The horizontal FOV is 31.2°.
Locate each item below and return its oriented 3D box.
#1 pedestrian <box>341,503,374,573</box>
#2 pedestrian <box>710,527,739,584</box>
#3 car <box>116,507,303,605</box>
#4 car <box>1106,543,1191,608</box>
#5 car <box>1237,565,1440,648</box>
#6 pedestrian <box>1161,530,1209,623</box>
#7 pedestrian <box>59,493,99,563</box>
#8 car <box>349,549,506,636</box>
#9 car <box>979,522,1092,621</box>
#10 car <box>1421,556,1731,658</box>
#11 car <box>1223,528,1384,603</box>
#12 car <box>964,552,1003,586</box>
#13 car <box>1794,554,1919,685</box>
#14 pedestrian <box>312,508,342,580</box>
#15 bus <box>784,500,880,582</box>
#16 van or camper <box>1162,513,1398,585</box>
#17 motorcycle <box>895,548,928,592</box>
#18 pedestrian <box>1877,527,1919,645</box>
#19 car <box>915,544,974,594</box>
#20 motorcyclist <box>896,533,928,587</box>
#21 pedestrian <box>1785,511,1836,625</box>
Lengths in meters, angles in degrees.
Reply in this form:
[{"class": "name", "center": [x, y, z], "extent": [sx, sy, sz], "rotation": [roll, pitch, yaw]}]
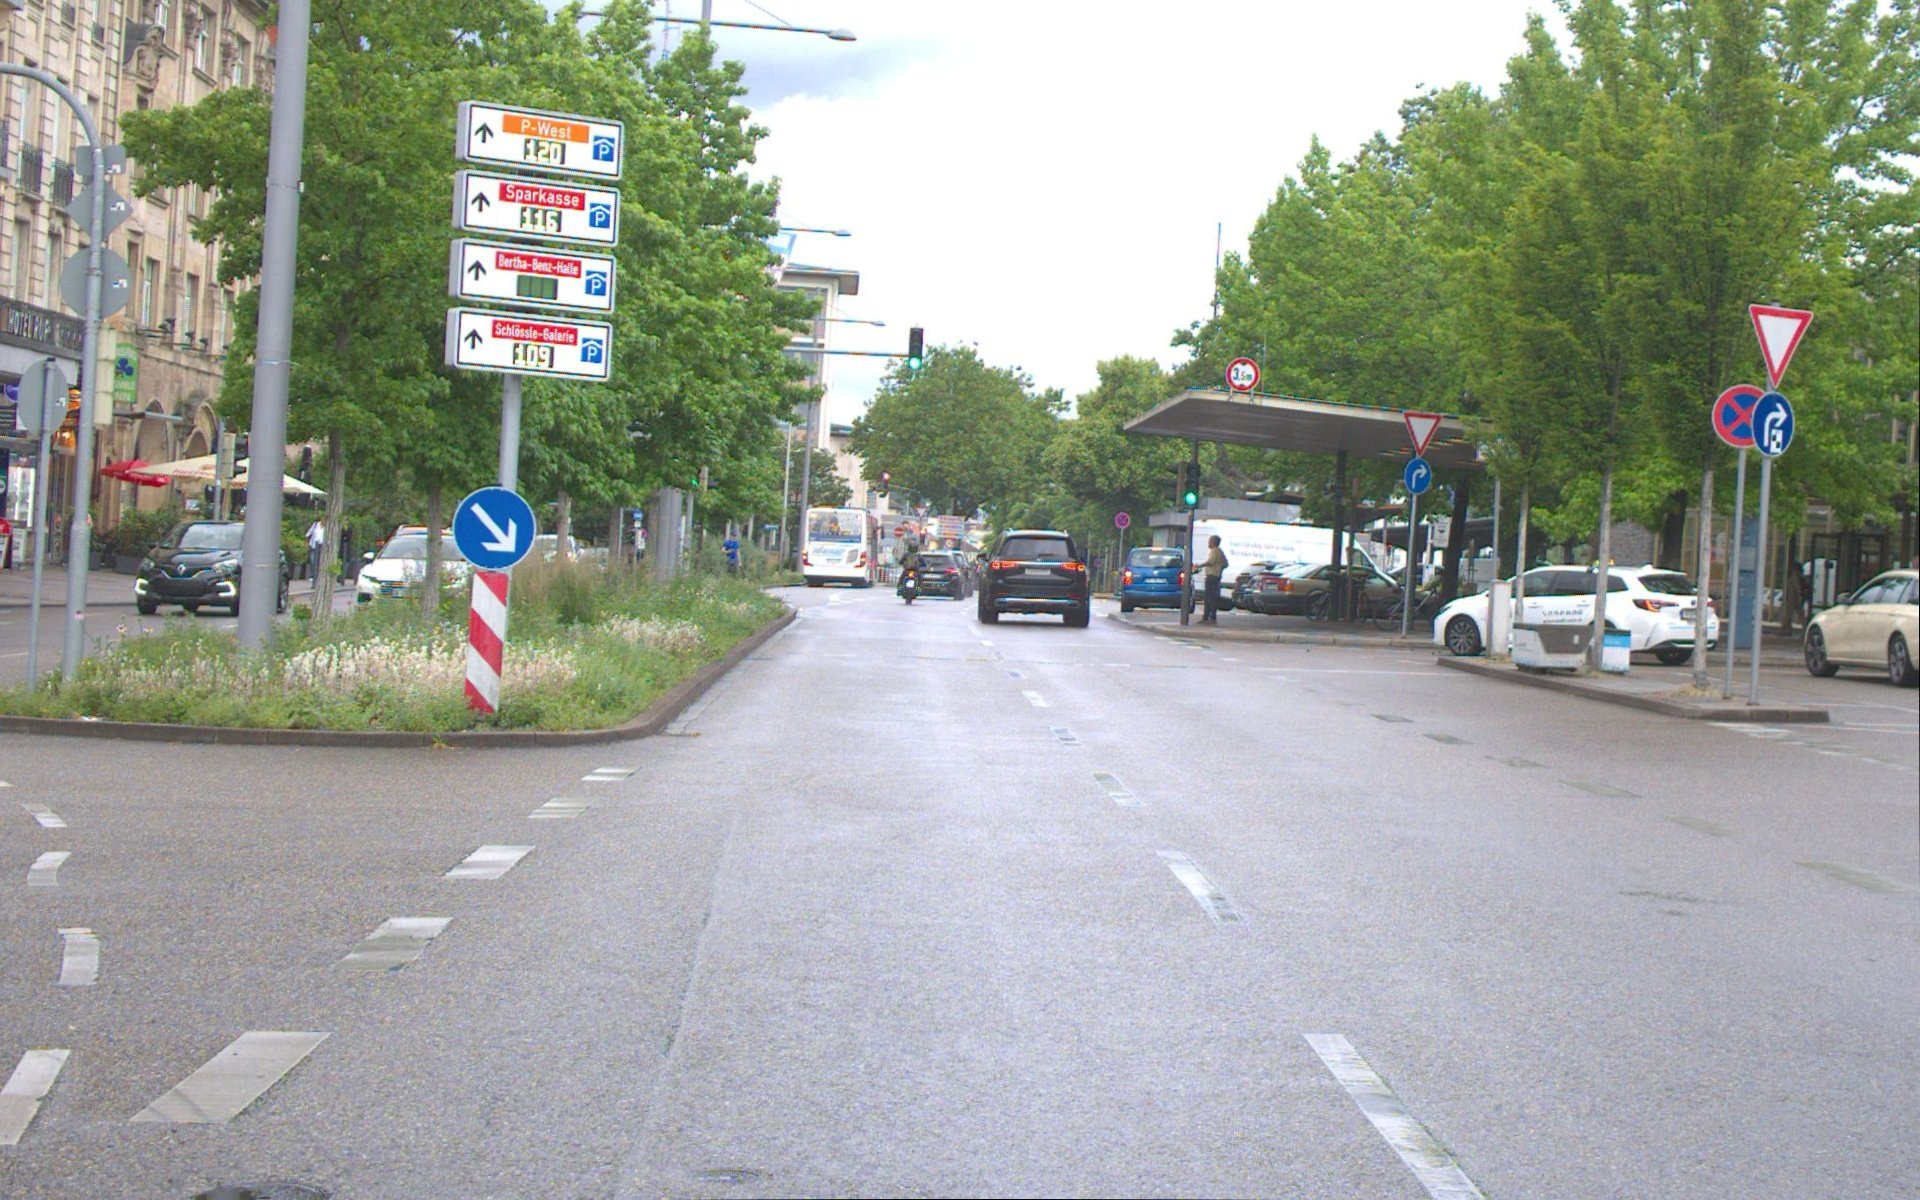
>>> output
[{"class": "pedestrian", "center": [-14.723, -1.505, 83.991], "extent": [0.674, 1.696, 0.634], "rotation": [1, 1, -1]}, {"class": "pedestrian", "center": [-7.180, -1.358, 104.972], "extent": [0.758, 1.695, 0.559], "rotation": [2, 1, 6]}, {"class": "car", "center": [-12.381, -0.729, 56.968], "extent": [1.772, 1.525, 4.077], "rotation": [1, 1, 7]}, {"class": "car", "center": [4.656, -0.626, 85.400], "extent": [1.816, 1.525, 4.000], "rotation": [1, 1, -1]}, {"class": "car", "center": [9.059, 0.150, 82.281], "extent": [4.335, 1.851, 2.001], "rotation": [1, 1, -20]}, {"class": "pedestrian", "center": [4.355, -0.457, 66.564], "extent": [0.717, 1.785, 0.666], "rotation": [1, 1, -12]}, {"class": "pedestrian", "center": [-19.172, -1.570, 74.785], "extent": [0.661, 1.505, 0.519], "rotation": [1, 1, -38]}, {"class": "car", "center": [-9.008, -0.159, 58.475], "extent": [1.724, 1.377, 4.859], "rotation": [1, 1, 2]}, {"class": "car", "center": [1.413, -0.574, 66.053], "extent": [1.993, 1.800, 4.690], "rotation": [1, 1, -1]}, {"class": "car", "center": [9.104, 0.087, 51.067], "extent": [1.774, 1.380, 4.366], "rotation": [0, 1, -41]}, {"class": "car", "center": [9.651, -0.975, 96.650], "extent": [3.986, 2.007, 2.001], "rotation": [1, 1, -20]}, {"class": "car", "center": [1.056, -1.424, 157.587], "extent": [1.708, 1.469, 4.000], "rotation": [1, 1, -1]}, {"class": "car", "center": [12.611, 0.230, 44.301], "extent": [1.993, 1.594, 4.824], "rotation": [1, 1, -7]}, {"class": "pedestrian", "center": [-15.443, -1.364, 83.911], "extent": [0.575, 1.726, 0.609], "rotation": [2, 1, -1]}, {"class": "bus", "center": [-5.479, -2.490, 144.669], "extent": [3.760, 3.198, 15.528], "rotation": [1, 1, -3]}, {"class": "van or camper", "center": [9.597, -1.502, 102.831], "extent": [6.753, 2.007, 2.385], "rotation": [1, 0, -26]}, {"class": "motorcycle", "center": [-1.214, -0.754, 86.153], "extent": [0.766, 1.073, 2.175], "rotation": [2, 1, 0]}, {"class": "pedestrian", "center": [16.304, -0.240, 59.155], "extent": [0.769, 2.007, 0.828], "rotation": [1, 1, -2]}, {"class": "car", "center": [-0.490, -0.938, 103.756], "extent": [1.708, 1.443, 4.000], "rotation": [1, 1, -1]}, {"class": "motorcyclist", "center": [-1.201, -1.008, 86.166], "extent": [0.764, 1.327, 0.866], "rotation": [2, 1, 0]}, {"class": "pedestrian", "center": [18.181, -0.684, 73.526], "extent": [0.843, 2.403, 0.862], "rotation": [1, 1, 1]}]
